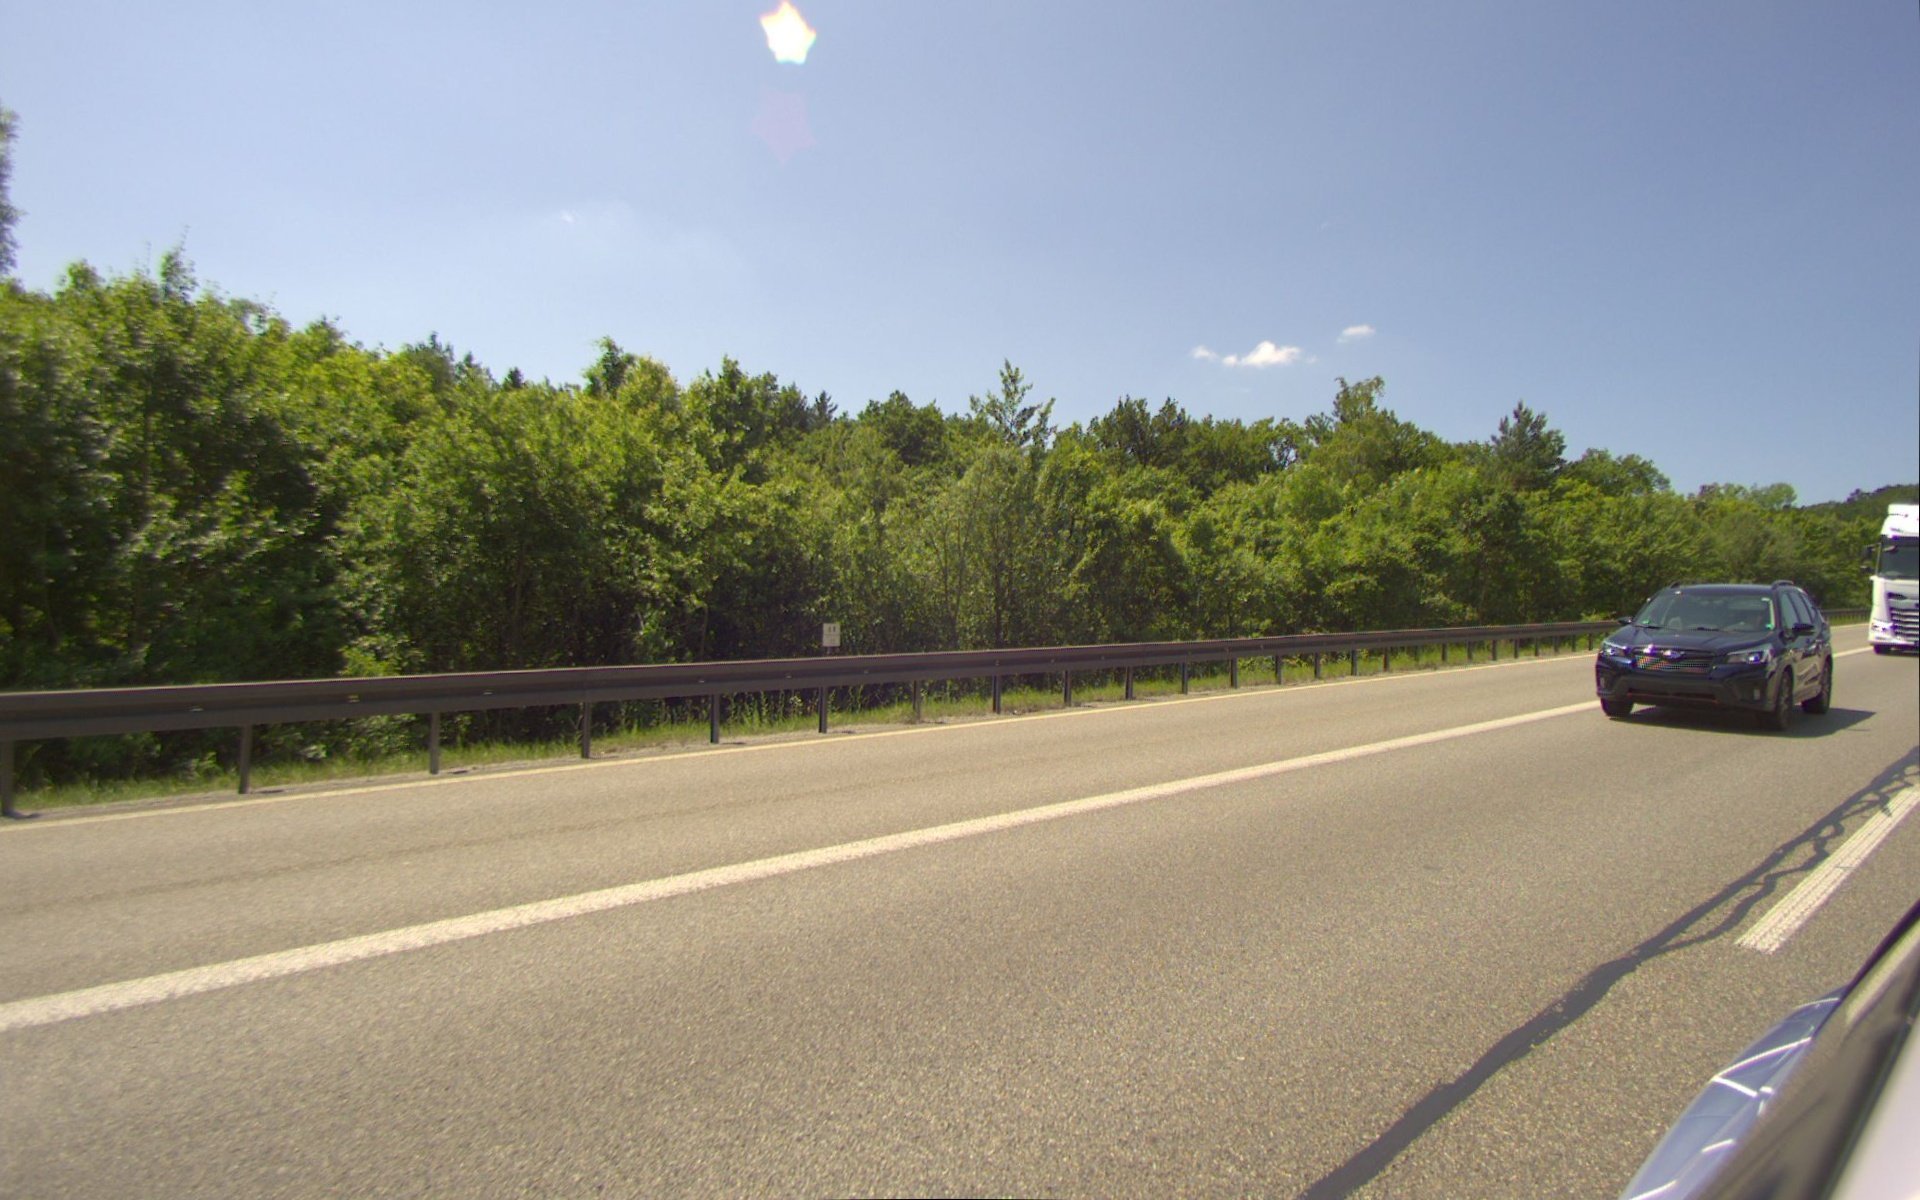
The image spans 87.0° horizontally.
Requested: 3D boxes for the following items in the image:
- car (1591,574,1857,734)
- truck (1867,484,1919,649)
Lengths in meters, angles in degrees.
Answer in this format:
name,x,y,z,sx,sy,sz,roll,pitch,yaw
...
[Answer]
name,x,y,z,sx,sy,sz,roll,pitch,yaw
car,9.770,0.559,12.835,4.129,1.688,1.815,0,1,-40
truck,30.846,-0.823,30.632,15.980,4.220,2.789,0,2,-40
